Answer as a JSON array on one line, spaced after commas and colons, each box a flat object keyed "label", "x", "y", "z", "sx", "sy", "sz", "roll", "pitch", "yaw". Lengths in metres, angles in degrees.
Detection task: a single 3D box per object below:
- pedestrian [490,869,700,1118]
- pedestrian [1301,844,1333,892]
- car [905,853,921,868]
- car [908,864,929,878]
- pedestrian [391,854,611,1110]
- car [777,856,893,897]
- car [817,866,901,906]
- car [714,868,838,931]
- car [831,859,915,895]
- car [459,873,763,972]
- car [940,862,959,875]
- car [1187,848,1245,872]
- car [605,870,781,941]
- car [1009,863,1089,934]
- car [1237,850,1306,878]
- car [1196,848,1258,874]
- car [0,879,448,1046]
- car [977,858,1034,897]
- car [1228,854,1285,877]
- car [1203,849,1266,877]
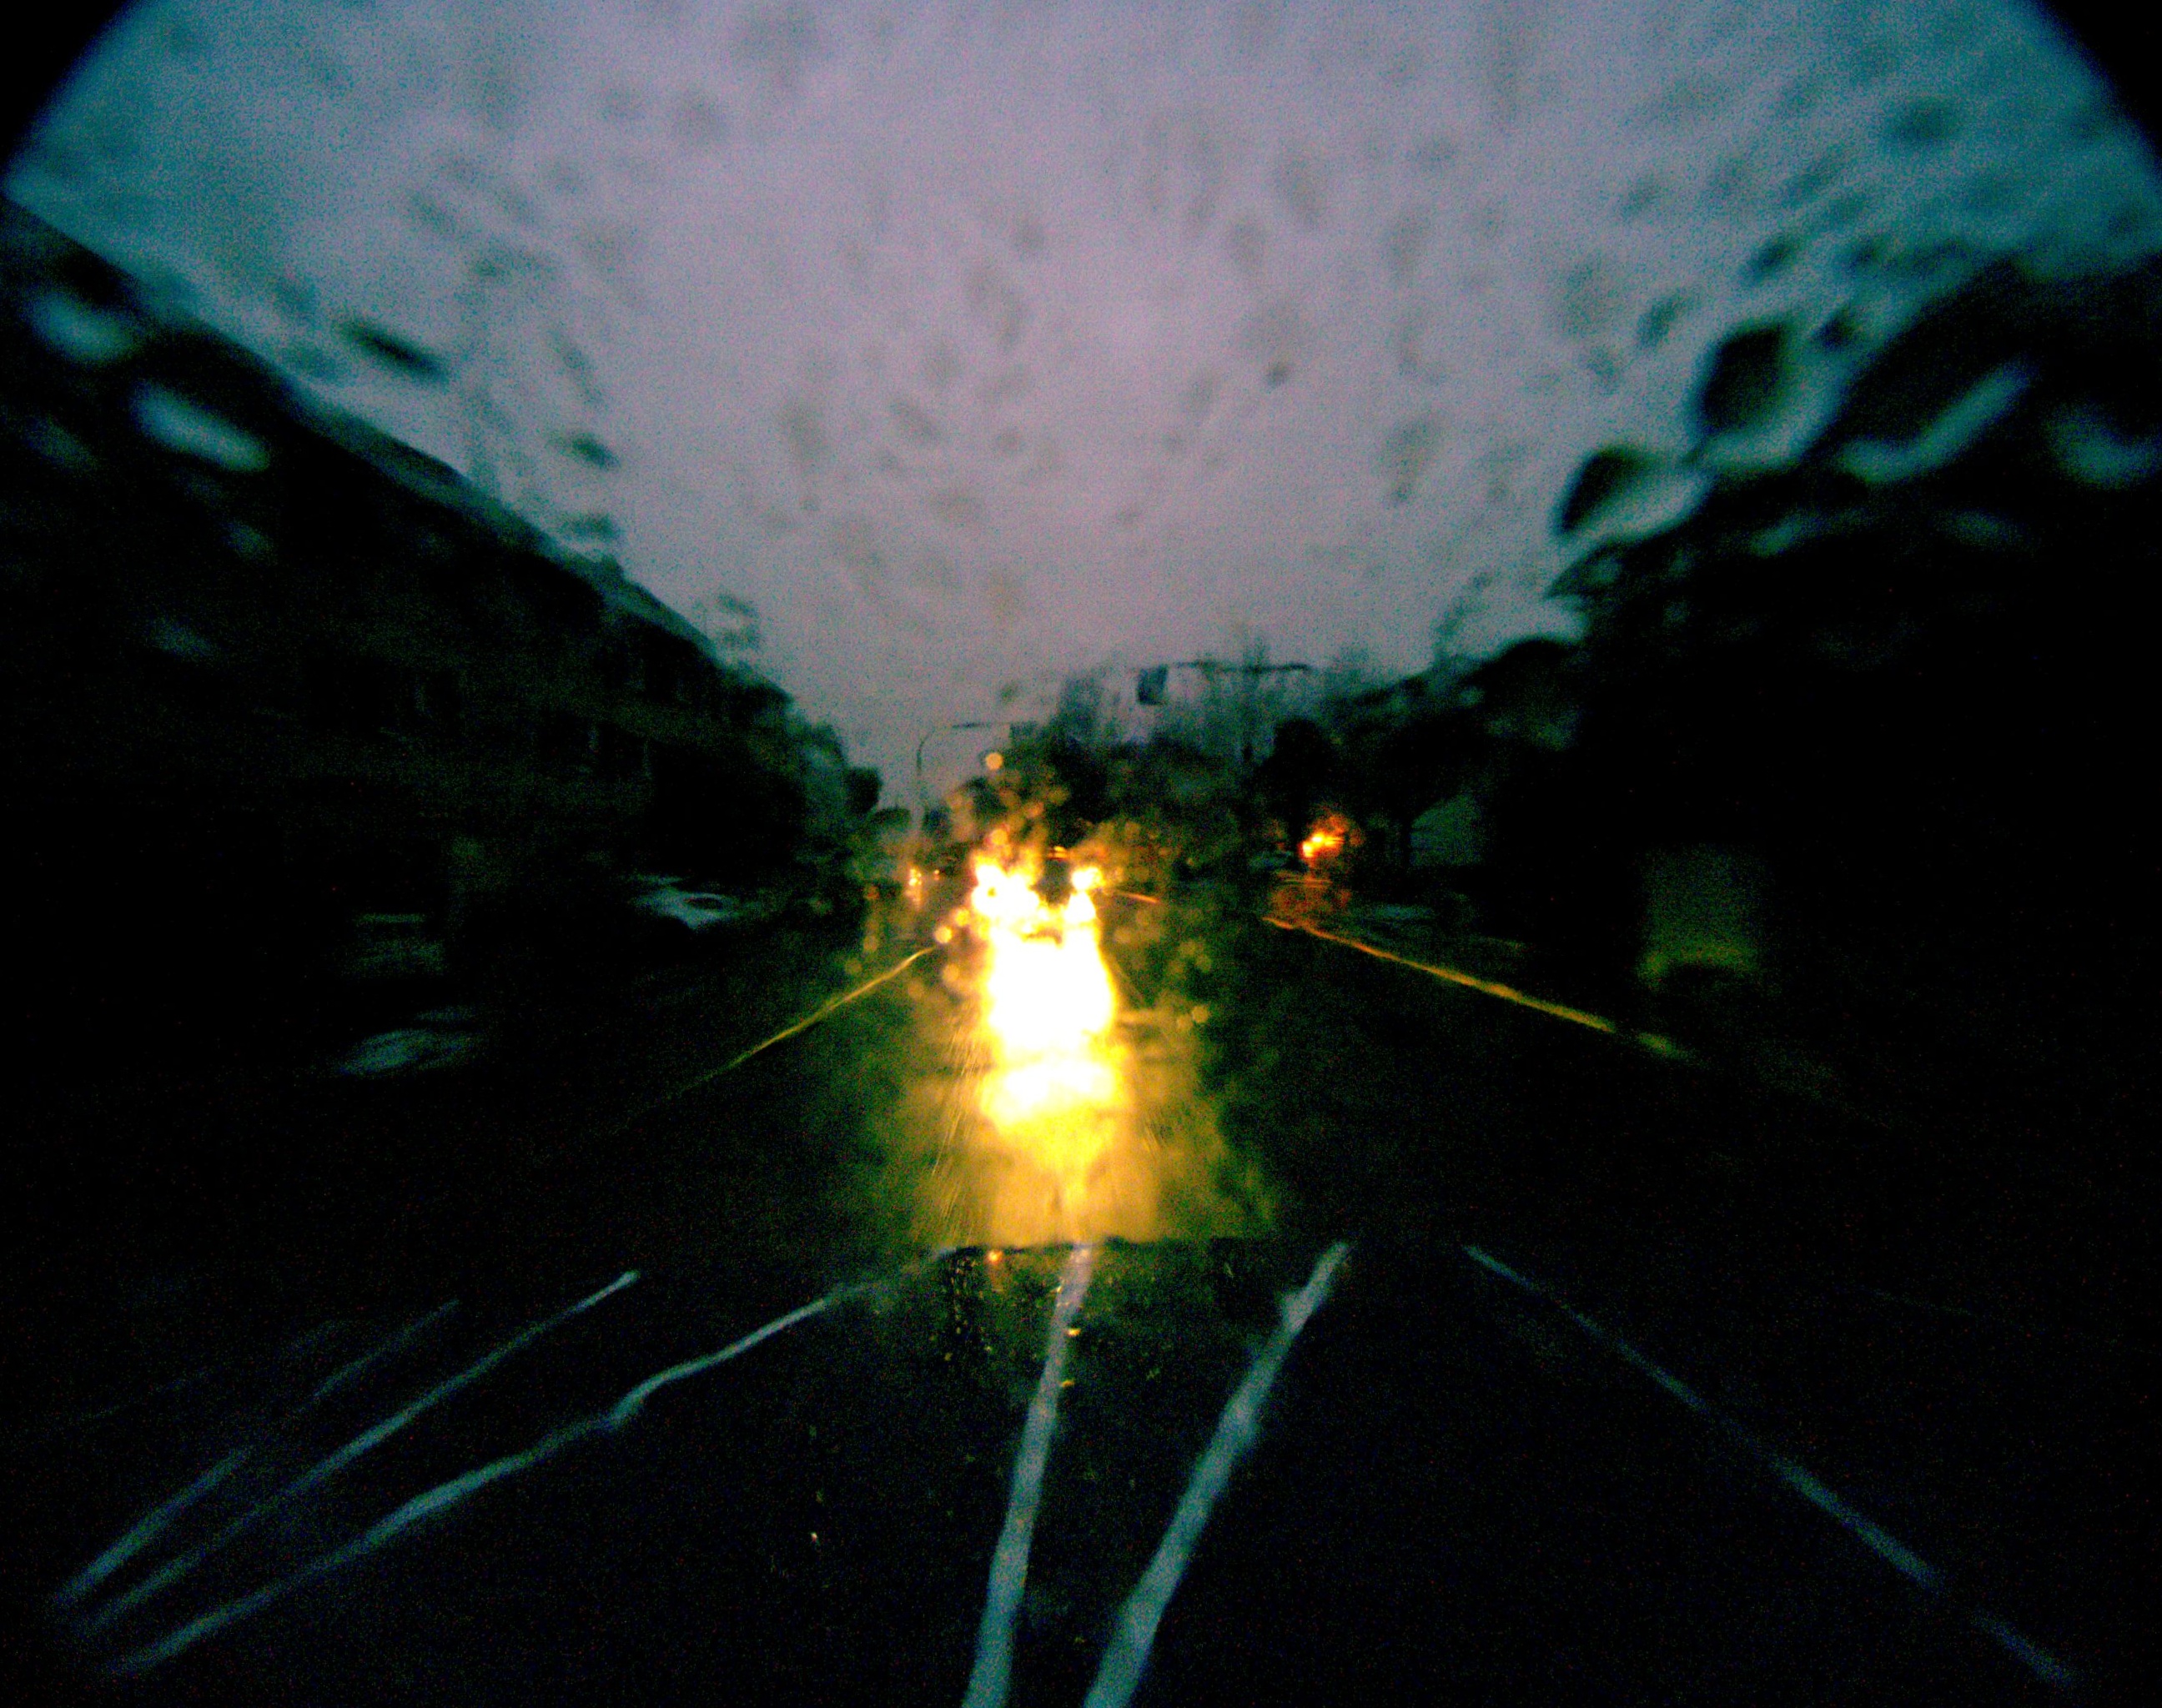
[{"label": "pedestrian", "x": -3.553, "y": 0.953, "z": 5.660, "sx": 0.869, "sy": 1.657, "sz": 0.992, "roll": 1, "pitch": 0, "yaw": 3}, {"label": "pedestrian", "x": 8.777, "y": 0.503, "z": 28.320, "sx": 0.881, "sy": 1.724, "sz": 0.956, "roll": -2, "pitch": 0, "yaw": 4}, {"label": "car", "x": -23.922, "y": 0.999, "z": 108.177, "sx": 1.840, "sy": 2.002, "sz": 3.694, "roll": -3, "pitch": 0, "yaw": -18}, {"label": "car", "x": -18.656, "y": 1.901, "z": 86.977, "sx": 1.904, "sy": 1.457, "sz": 3.994, "roll": -3, "pitch": 0, "yaw": -18}, {"label": "pedestrian", "x": -4.275, "y": 0.878, "z": 5.689, "sx": 0.850, "sy": 1.723, "sz": 0.972, "roll": 1, "pitch": 0, "yaw": 3}, {"label": "car", "x": -11.754, "y": 1.082, "z": 36.589, "sx": 4.995, "sy": 1.877, "sz": 1.936, "roll": 0, "pitch": -1, "yaw": -5}, {"label": "car", "x": -8.350, "y": 1.191, "z": 28.737, "sx": 2.771, "sy": 1.465, "sz": 1.426, "roll": 0, "pitch": 0, "yaw": -4}, {"label": "car", "x": -7.754, "y": 1.127, "z": 19.487, "sx": 2.590, "sy": 1.538, "sz": 1.551, "roll": 0, "pitch": -1, "yaw": -5}, {"label": "car", "x": -10.730, "y": 1.177, "z": 39.471, "sx": 4.055, "sy": 1.832, "sz": 1.862, "roll": 0, "pitch": 0, "yaw": -9}, {"label": "car", "x": -7.589, "y": 1.068, "z": 12.569, "sx": 3.910, "sy": 1.465, "sz": 1.750, "roll": 0, "pitch": 0, "yaw": -2}, {"label": "car", "x": -16.487, "y": 1.817, "z": 95.240, "sx": 1.902, "sy": 1.607, "sz": 3.822, "roll": -3, "pitch": 0, "yaw": -16}, {"label": "car", "x": 10.024, "y": 0.426, "z": 56.391, "sx": 3.992, "sy": 1.622, "sz": 1.637, "roll": -2, "pitch": 0, "yaw": 18}, {"label": "car", "x": -8.431, "y": 1.094, "z": 16.691, "sx": 3.073, "sy": 1.465, "sz": 1.549, "roll": 0, "pitch": 0, "yaw": -2}, {"label": "car", "x": -0.769, "y": 1.042, "z": 19.190, "sx": 1.731, "sy": 1.475, "sz": 3.603, "roll": -3, "pitch": 0, "yaw": -1}, {"label": "car", "x": 10.725, "y": 0.550, "z": 42.807, "sx": 3.477, "sy": 1.401, "sz": 1.613, "roll": -3, "pitch": 0, "yaw": 24}, {"label": "car", "x": 9.899, "y": 0.489, "z": 51.381, "sx": 3.993, "sy": 1.622, "sz": 1.636, "roll": -2, "pitch": 0, "yaw": 14}, {"label": "car", "x": -8.759, "y": 1.014, "z": 7.751, "sx": 3.224, "sy": 1.465, "sz": 1.587, "roll": 0, "pitch": 0, "yaw": -2}, {"label": "car", "x": -3.594, "y": 1.081, "z": 35.479, "sx": 1.926, "sy": 1.608, "sz": 3.863, "roll": -3, "pitch": 0, "yaw": -16}, {"label": "car", "x": 10.520, "y": 0.668, "z": 45.450, "sx": 3.049, "sy": 1.212, "sz": 1.613, "roll": -3, "pitch": 0, "yaw": 22}, {"label": "car", "x": 9.736, "y": 0.564, "z": 48.183, "sx": 3.627, "sy": 1.602, "sz": 1.613, "roll": -3, "pitch": 0, "yaw": 22}]
